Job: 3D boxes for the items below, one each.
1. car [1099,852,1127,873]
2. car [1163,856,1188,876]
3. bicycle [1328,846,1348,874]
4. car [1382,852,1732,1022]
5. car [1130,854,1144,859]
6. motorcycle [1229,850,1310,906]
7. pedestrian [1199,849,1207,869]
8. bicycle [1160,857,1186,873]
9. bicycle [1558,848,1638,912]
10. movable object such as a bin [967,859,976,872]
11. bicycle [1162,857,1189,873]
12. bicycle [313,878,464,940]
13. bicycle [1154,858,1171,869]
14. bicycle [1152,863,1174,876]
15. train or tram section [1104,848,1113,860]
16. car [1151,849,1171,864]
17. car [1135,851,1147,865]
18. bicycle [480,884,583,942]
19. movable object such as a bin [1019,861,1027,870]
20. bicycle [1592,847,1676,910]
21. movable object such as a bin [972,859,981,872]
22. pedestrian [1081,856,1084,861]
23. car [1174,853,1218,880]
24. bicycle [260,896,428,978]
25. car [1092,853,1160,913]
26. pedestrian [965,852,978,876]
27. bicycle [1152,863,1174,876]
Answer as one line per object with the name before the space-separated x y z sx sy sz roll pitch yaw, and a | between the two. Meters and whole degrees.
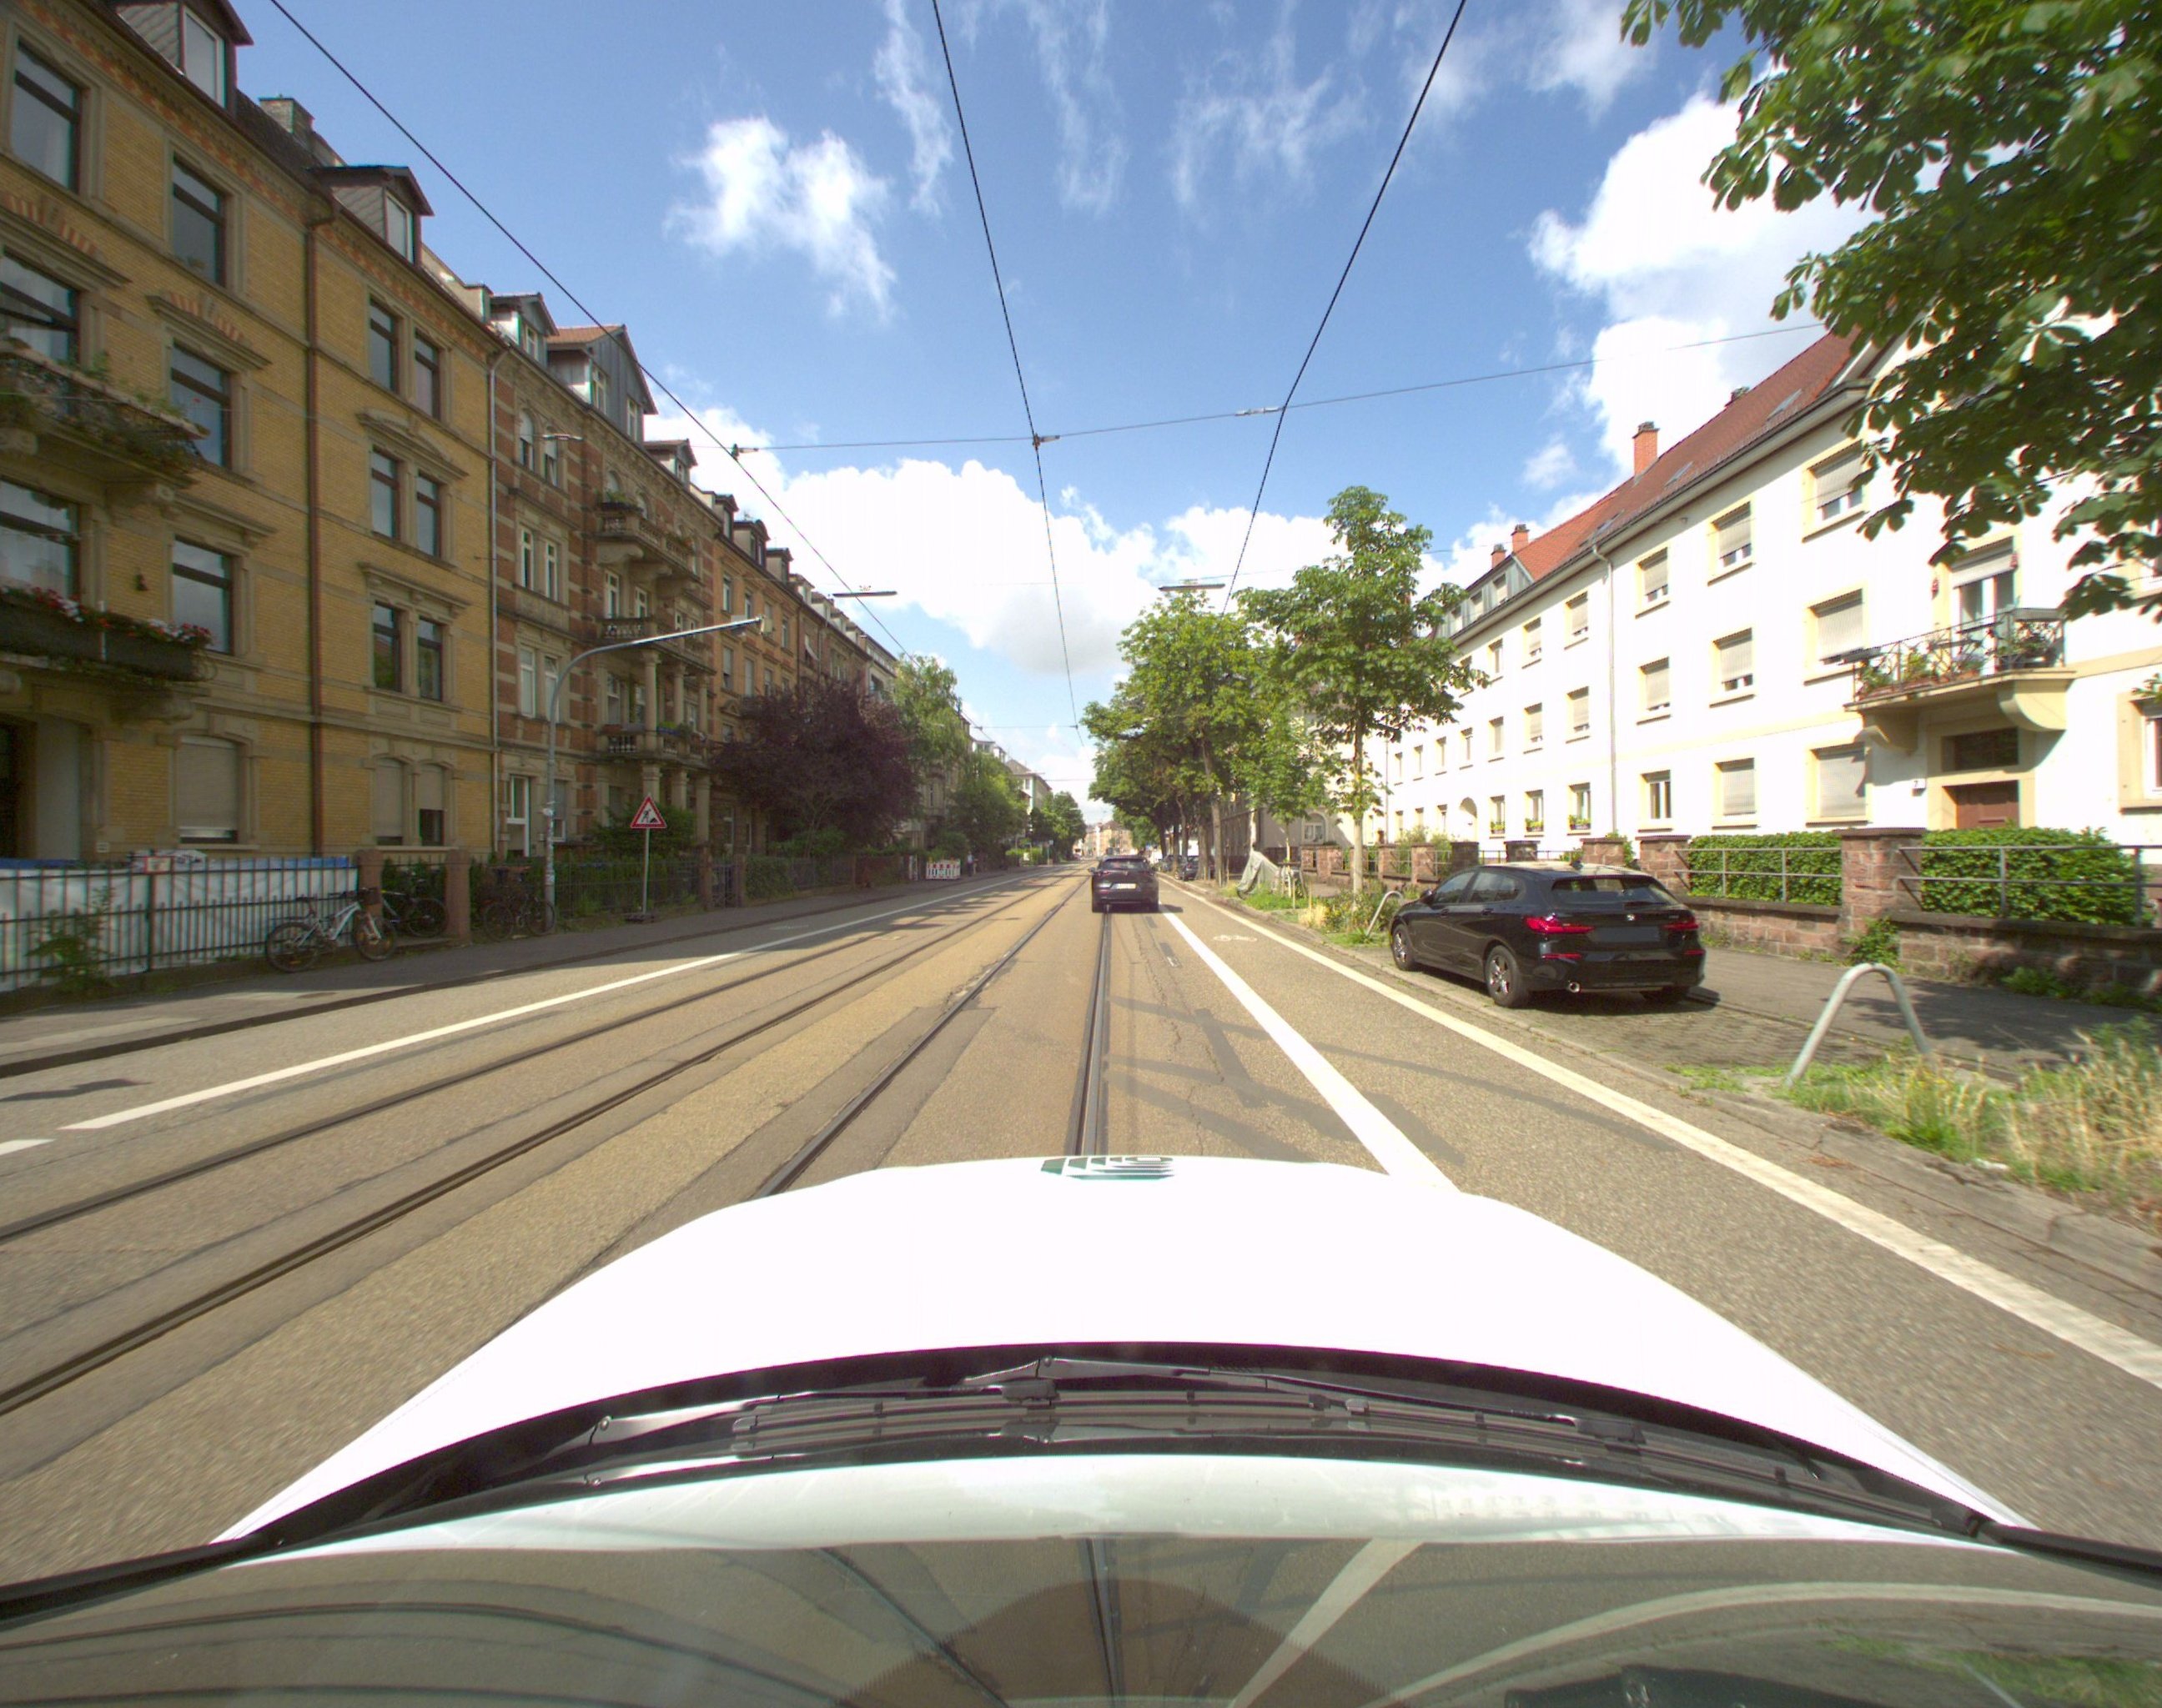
car | 2.415 0.618 61.237 1.986 1.529 4.002 2 0 2
car | 7.533 0.952 65.318 1.659 1.430 3.768 -3 0 2
bicycle | 11.222 0.248 35.590 0.410 1.211 1.705 -1 0 3
car | 5.070 0.754 9.448 1.699 1.479 4.198 2 0 2
car | 17.043 0.789 248.818 3.814 1.618 1.629 2 0 -16
motorcycle | 5.759 0.709 25.012 2.357 1.597 0.683 2 1 41
pedestrian | 11.578 0.473 77.298 0.608 1.836 0.878 -1 -2 0
bicycle | 6.900 0.814 60.957 1.880 1.176 0.515 -2 -1 13
bicycle | 10.440 0.502 16.511 0.597 1.211 1.705 -1 0 3
movable object such as a bin | -9.323 1.010 69.500 0.546 1.108 0.791 -1 0 7
bicycle | 7.006 0.815 60.370 1.923 1.176 0.515 -2 -1 13
bicycle | -11.429 0.894 13.478 1.957 0.946 0.531 -1 0 -3
bicycle | 7.489 0.911 74.745 1.484 0.983 0.259 -1 -1 4
bicycle | 7.052 1.348 69.867 1.896 1.072 0.402 0 -1 2
train or tram section | 8.650 0.052 256.273 2.562 3.772 13.030 -1 0 2
car | 10.472 0.322 106.893 1.783 1.938 4.984 -1 0 -4
car | 9.124 0.603 123.564 1.713 1.968 4.210 -1 0 3
bicycle | -10.242 1.071 15.277 0.528 0.946 1.969 -1 0 2
movable object such as a bin | -6.826 1.354 95.845 0.742 0.988 1.115 2 0 2
bicycle | 11.144 0.473 16.471 0.597 1.211 1.705 -1 0 3
movable object such as a bin | -8.894 0.989 69.238 0.535 1.094 0.791 -1 0 7
pedestrian | 0.502 1.367 237.697 0.749 1.510 0.823 -1 0 -2
car | 6.680 0.700 47.548 1.841 1.409 4.393 -2 0 -1
bicycle | -10.276 1.125 11.467 0.528 0.946 1.969 -1 0 2
car | 1.214 0.751 22.731 1.714 1.526 3.591 -1 0 2
pedestrian | -7.699 0.707 57.309 0.820 1.706 0.891 -1 0 -1
bicycle | 7.082 1.335 70.364 1.896 1.072 0.402 0 -1 2
